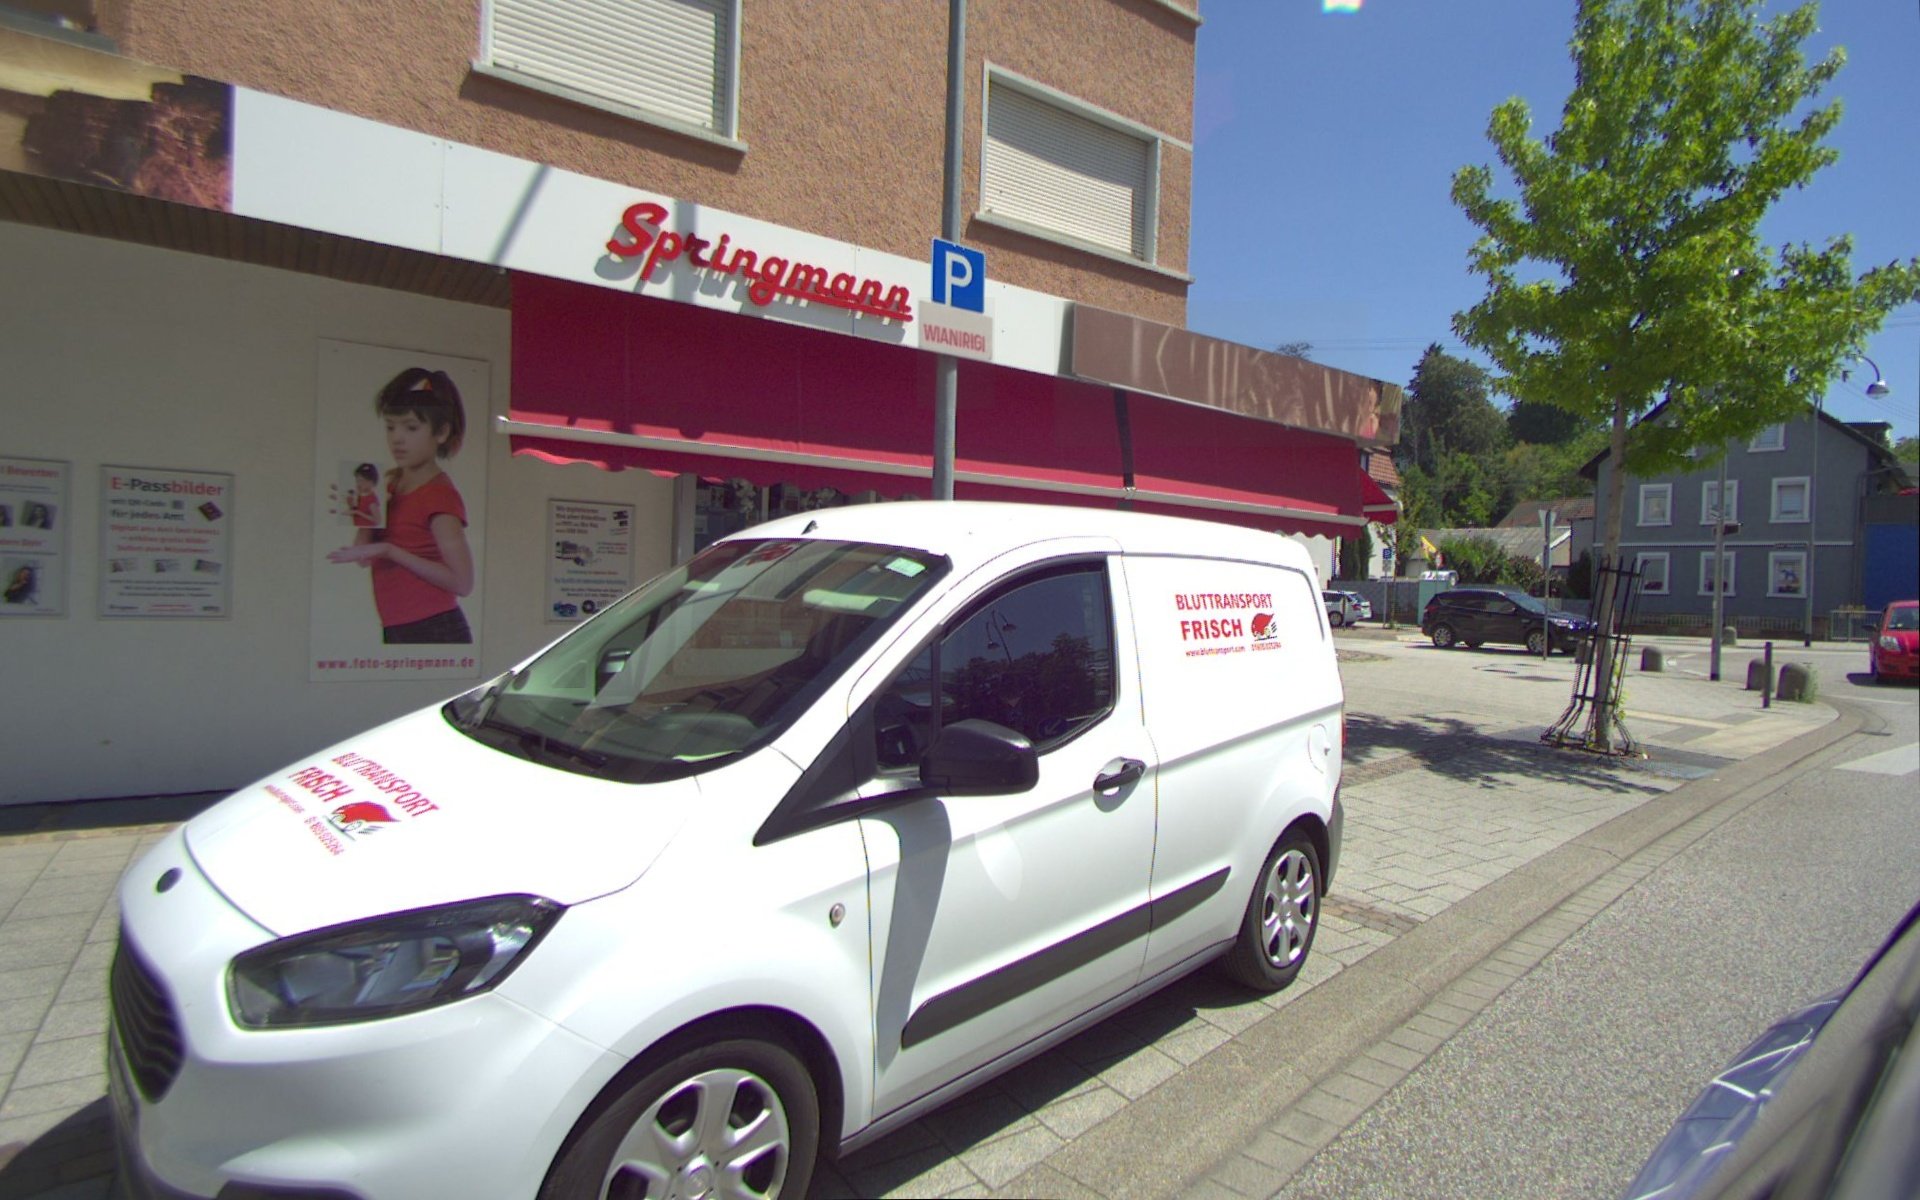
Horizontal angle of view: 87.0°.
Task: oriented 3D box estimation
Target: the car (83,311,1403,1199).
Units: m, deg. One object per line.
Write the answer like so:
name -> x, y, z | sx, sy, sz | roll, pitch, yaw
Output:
car -> -0.247, 0.451, 3.294 | 3.846, 1.745, 1.749 | 0, 3, -45

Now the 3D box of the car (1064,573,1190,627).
car -> 5.627, -0.027, 34.440 | 1.769, 1.610, 3.996 | 3, -1, -39

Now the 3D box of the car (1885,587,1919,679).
car -> 18.690, 0.572, 19.049 | 1.828, 1.552, 3.939 | -1, 1, 43

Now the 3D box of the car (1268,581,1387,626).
car -> 15.371, 0.100, 42.426 | 4.268, 1.603, 1.972 | 2, 5, 41

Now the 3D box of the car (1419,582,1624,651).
car -> 15.266, 0.374, 27.770 | 1.962, 1.709, 4.527 | 0, 1, -35
